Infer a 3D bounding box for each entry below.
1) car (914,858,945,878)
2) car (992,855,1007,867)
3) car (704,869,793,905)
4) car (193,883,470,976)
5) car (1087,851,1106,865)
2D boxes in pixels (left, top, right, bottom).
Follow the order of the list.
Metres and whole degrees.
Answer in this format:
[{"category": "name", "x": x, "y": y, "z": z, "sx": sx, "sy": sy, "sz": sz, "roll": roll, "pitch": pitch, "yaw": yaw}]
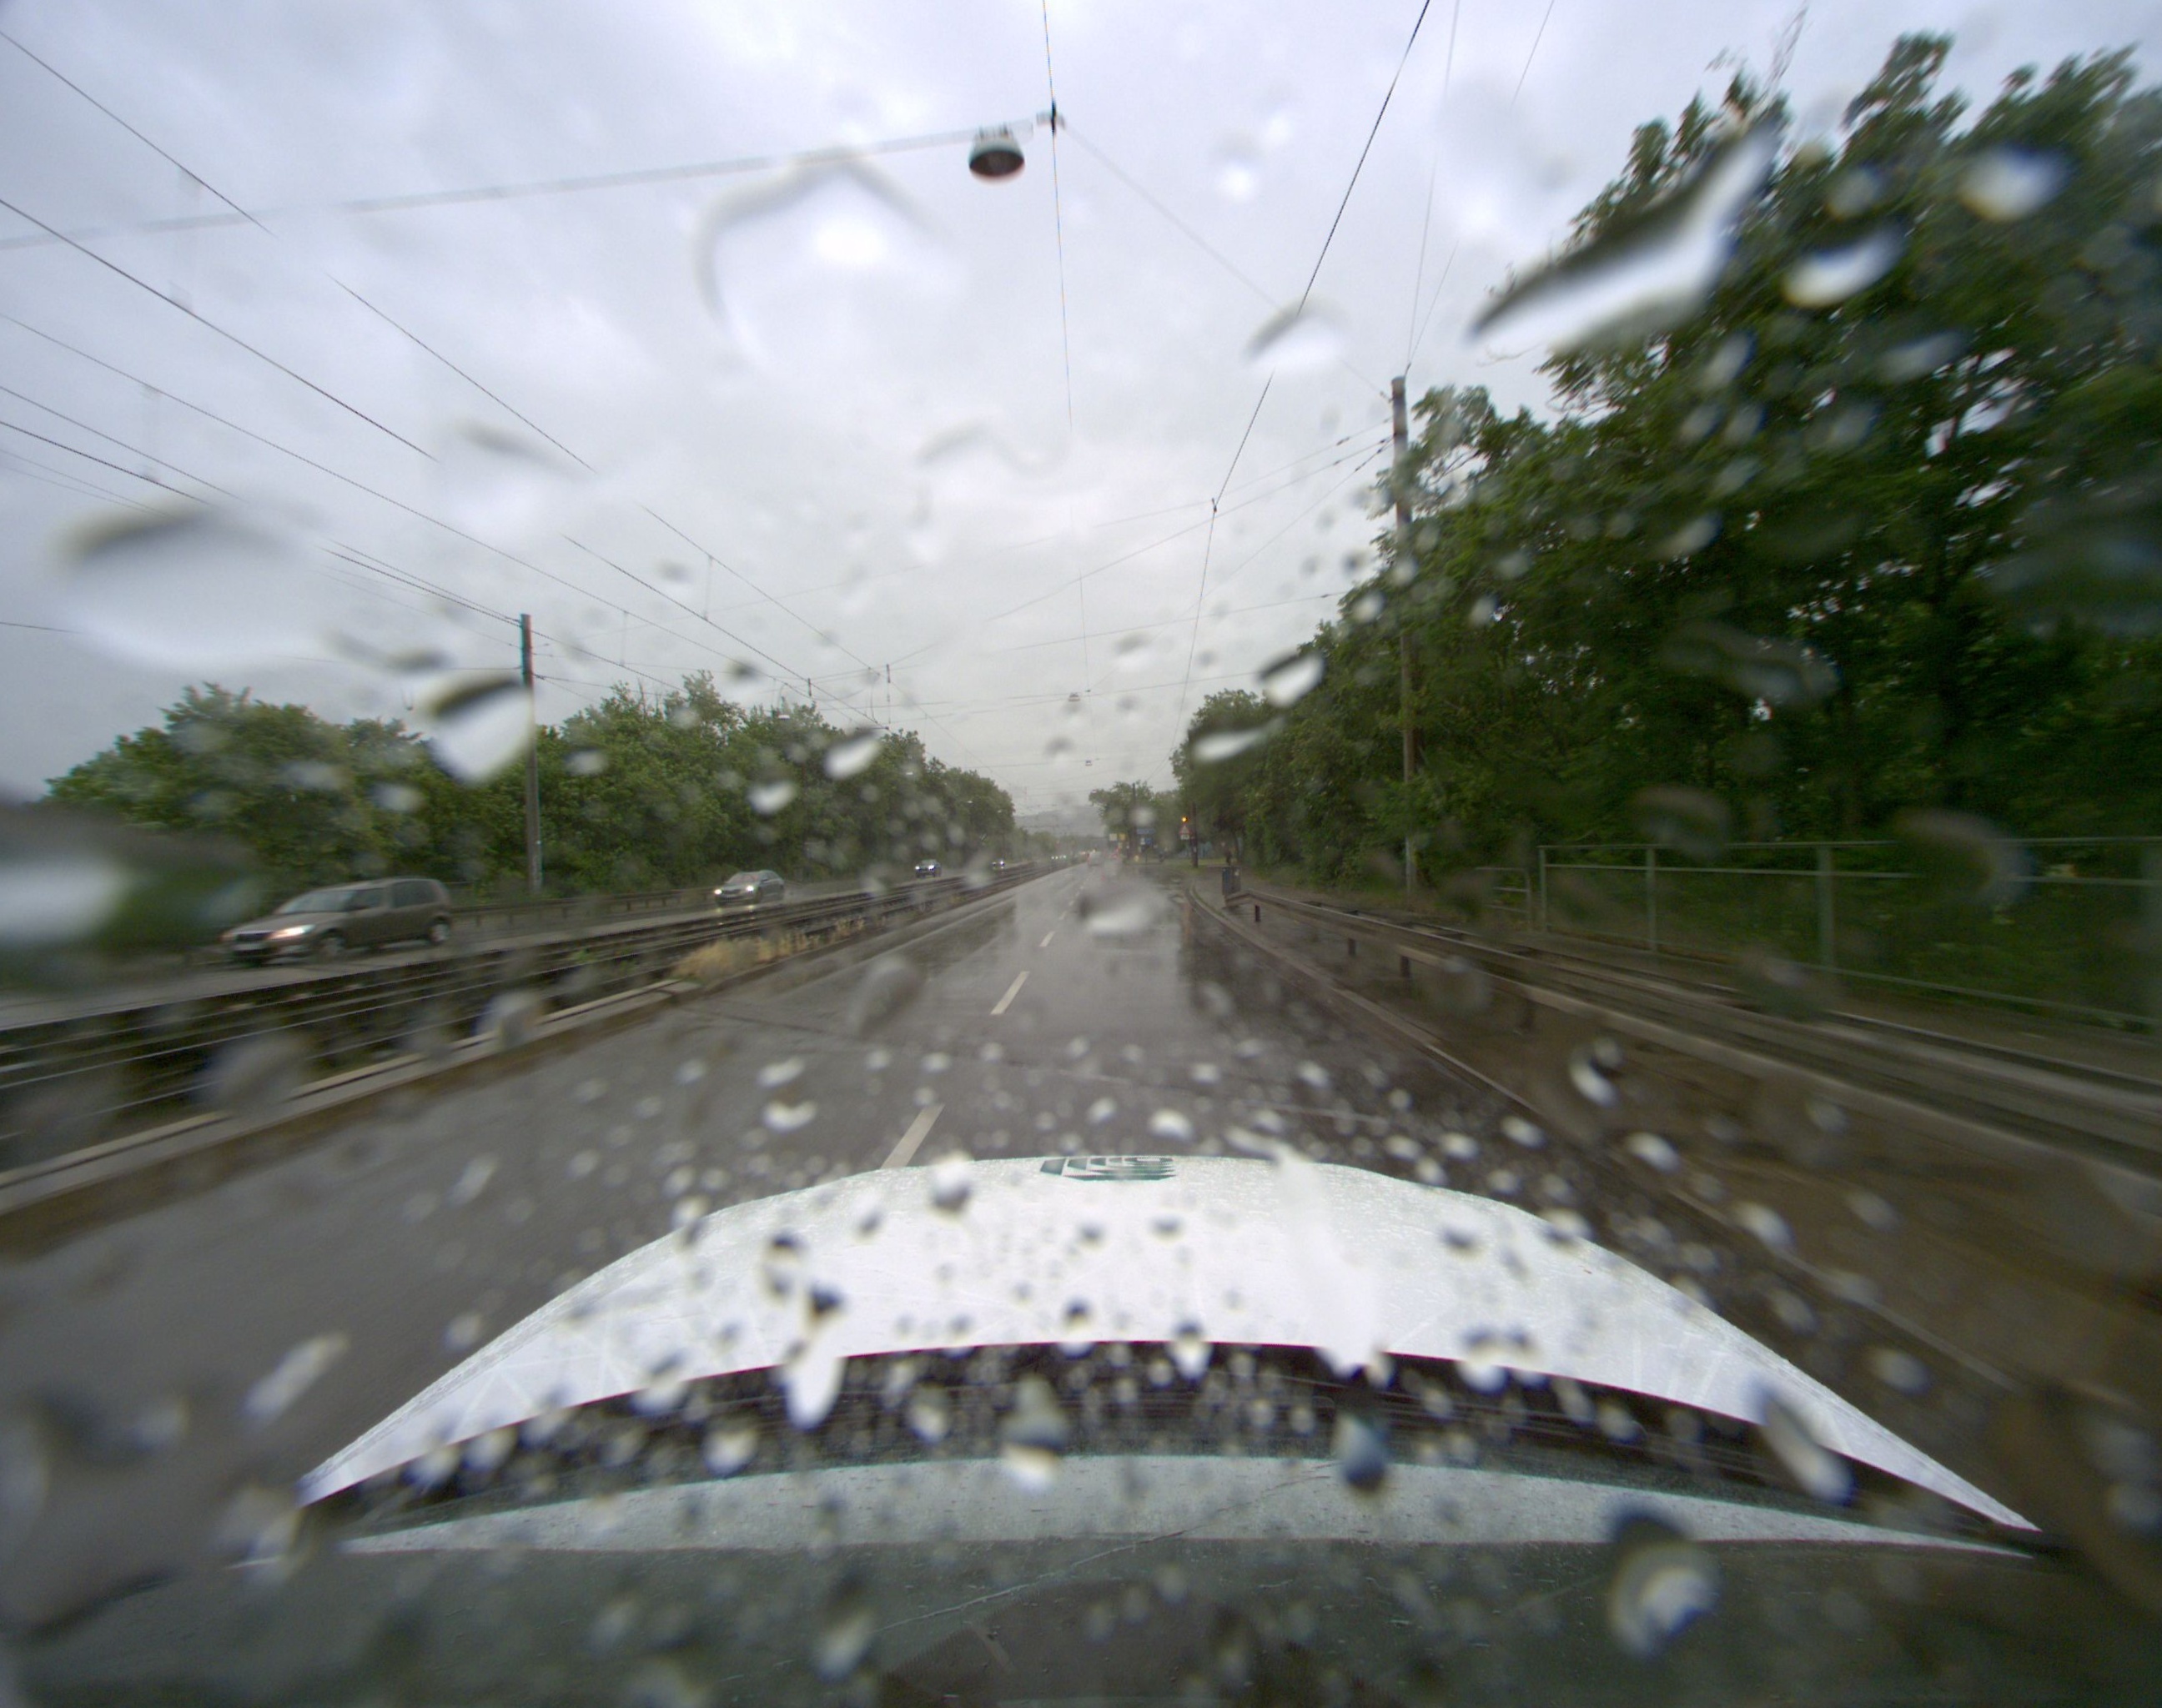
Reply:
[{"category": "car", "x": -14.380, "y": 1.311, "z": 77.475, "sx": 1.987, "sy": 1.672, "sz": 4.873, "roll": -2, "pitch": 0, "yaw": 1}, {"category": "car", "x": -13.709, "y": 1.156, "z": 136.839, "sx": 1.986, "sy": 1.782, "sz": 4.001, "roll": 3, "pitch": 0, "yaw": 1}, {"category": "car", "x": -15.094, "y": 1.449, "z": 37.255, "sx": 1.987, "sy": 1.388, "sz": 4.854, "roll": -2, "pitch": 0, "yaw": 1}, {"category": "car", "x": -15.871, "y": 1.515, "z": 17.654, "sx": 1.834, "sy": 1.574, "sz": 4.387, "roll": -1, "pitch": 0, "yaw": 2}, {"category": "car", "x": 1.753, "y": 0.431, "z": 90.828, "sx": 2.070, "sy": 1.420, "sz": 4.002, "roll": -3, "pitch": 0, "yaw": 2}]
